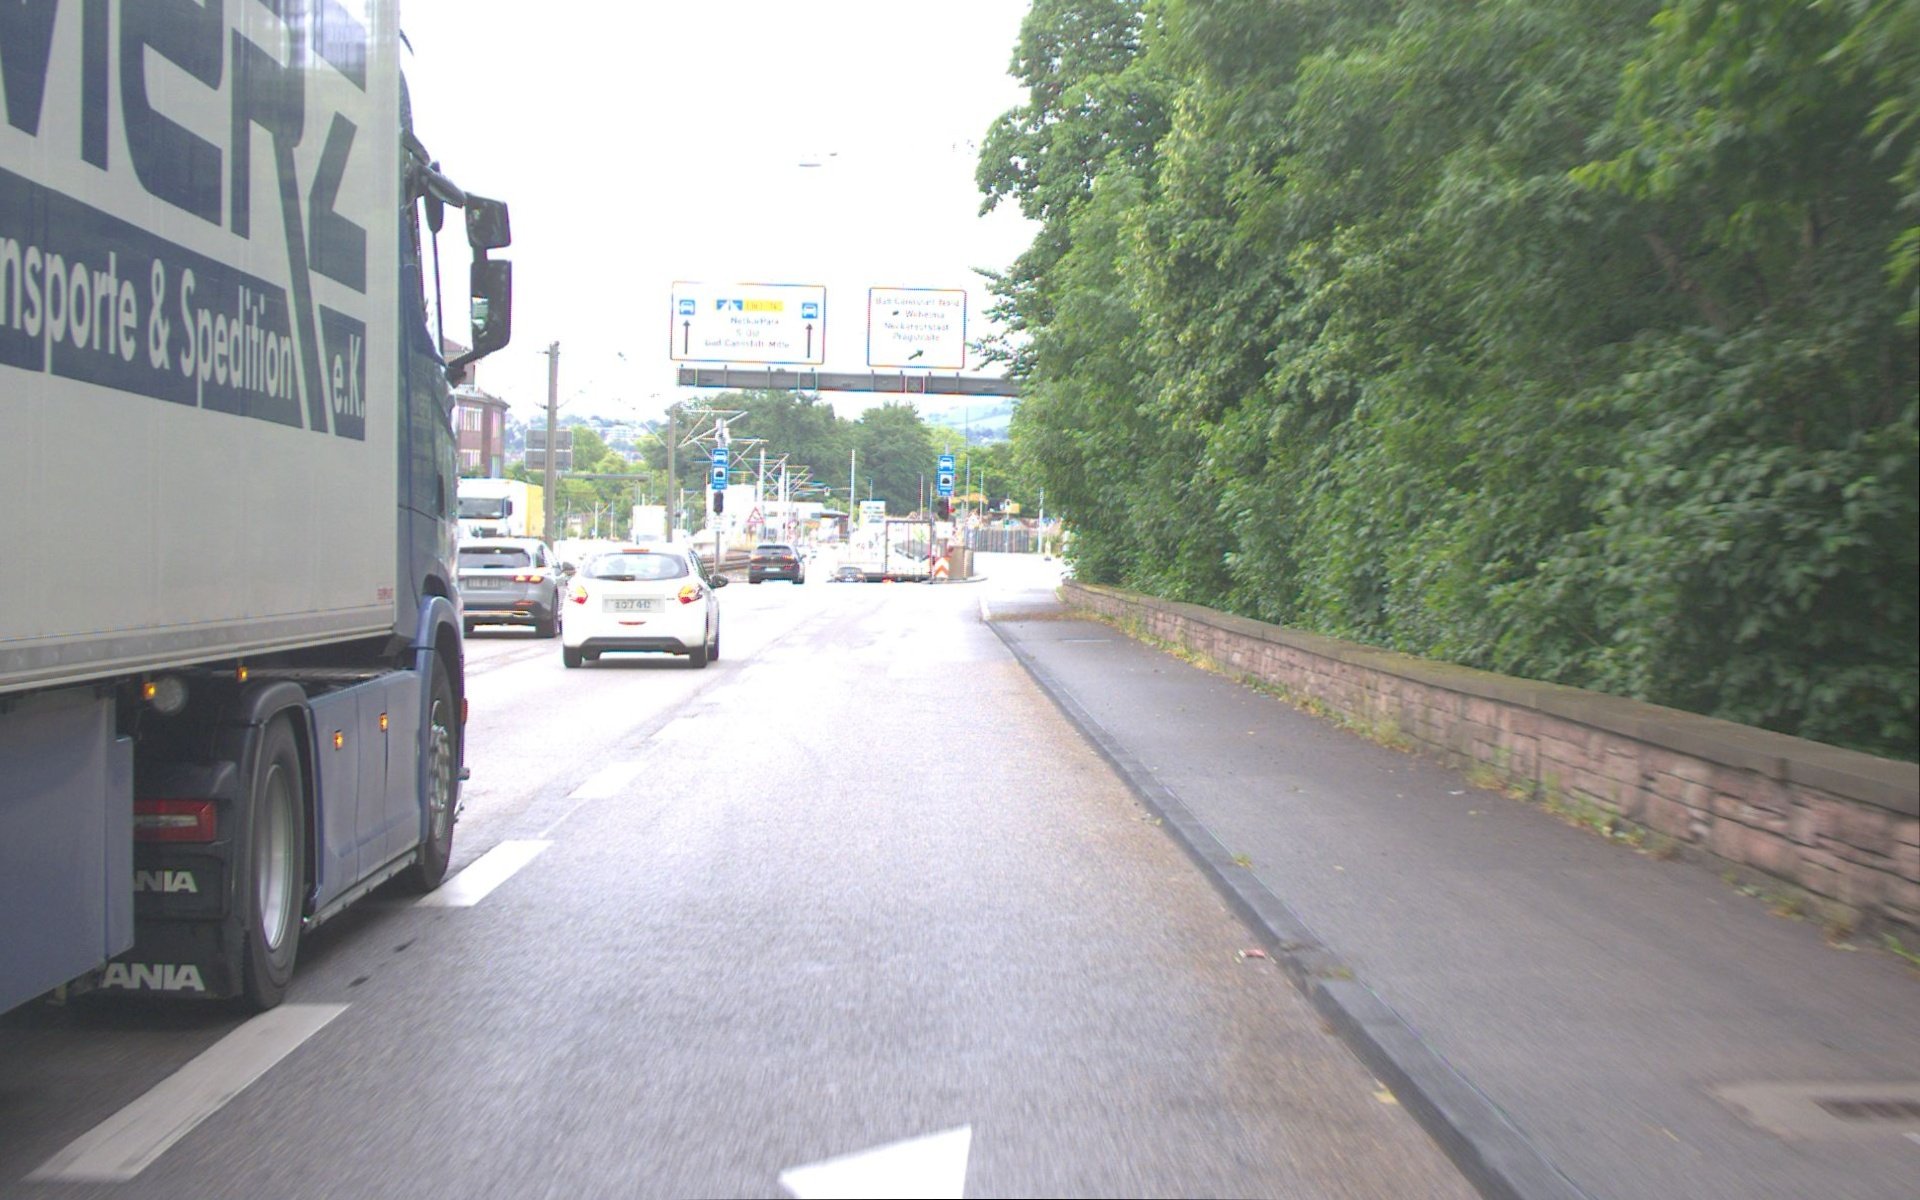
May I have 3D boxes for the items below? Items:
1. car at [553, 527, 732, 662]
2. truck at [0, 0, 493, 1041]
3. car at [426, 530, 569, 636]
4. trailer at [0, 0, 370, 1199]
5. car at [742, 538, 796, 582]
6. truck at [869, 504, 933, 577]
[{"bbox_3d":[-3.774,-0.104,41.392,1.810,1.419,4.001,1,3,-1],"label":"car"},{"bbox_3d":[-3.518,-0.874,13.117,2.756,4.190,6.307,0,1,-1],"label":"truck"},{"bbox_3d":[-7.013,-0.292,52.443,1.681,1.441,4.001,1,3,-1],"label":"car"},{"bbox_3d":[-3.347,-0.714,5.770,2.762,4.238,13.184,0,1,-1],"label":"trailer"},{"bbox_3d":[-6.652,-1.402,119.982,1.690,1.503,3.768,1,1,-1],"label":"car"},{"bbox_3d":[-3.303,-3.339,194.452,3.518,4.026,8.074,1,1,0],"label":"truck"}]
